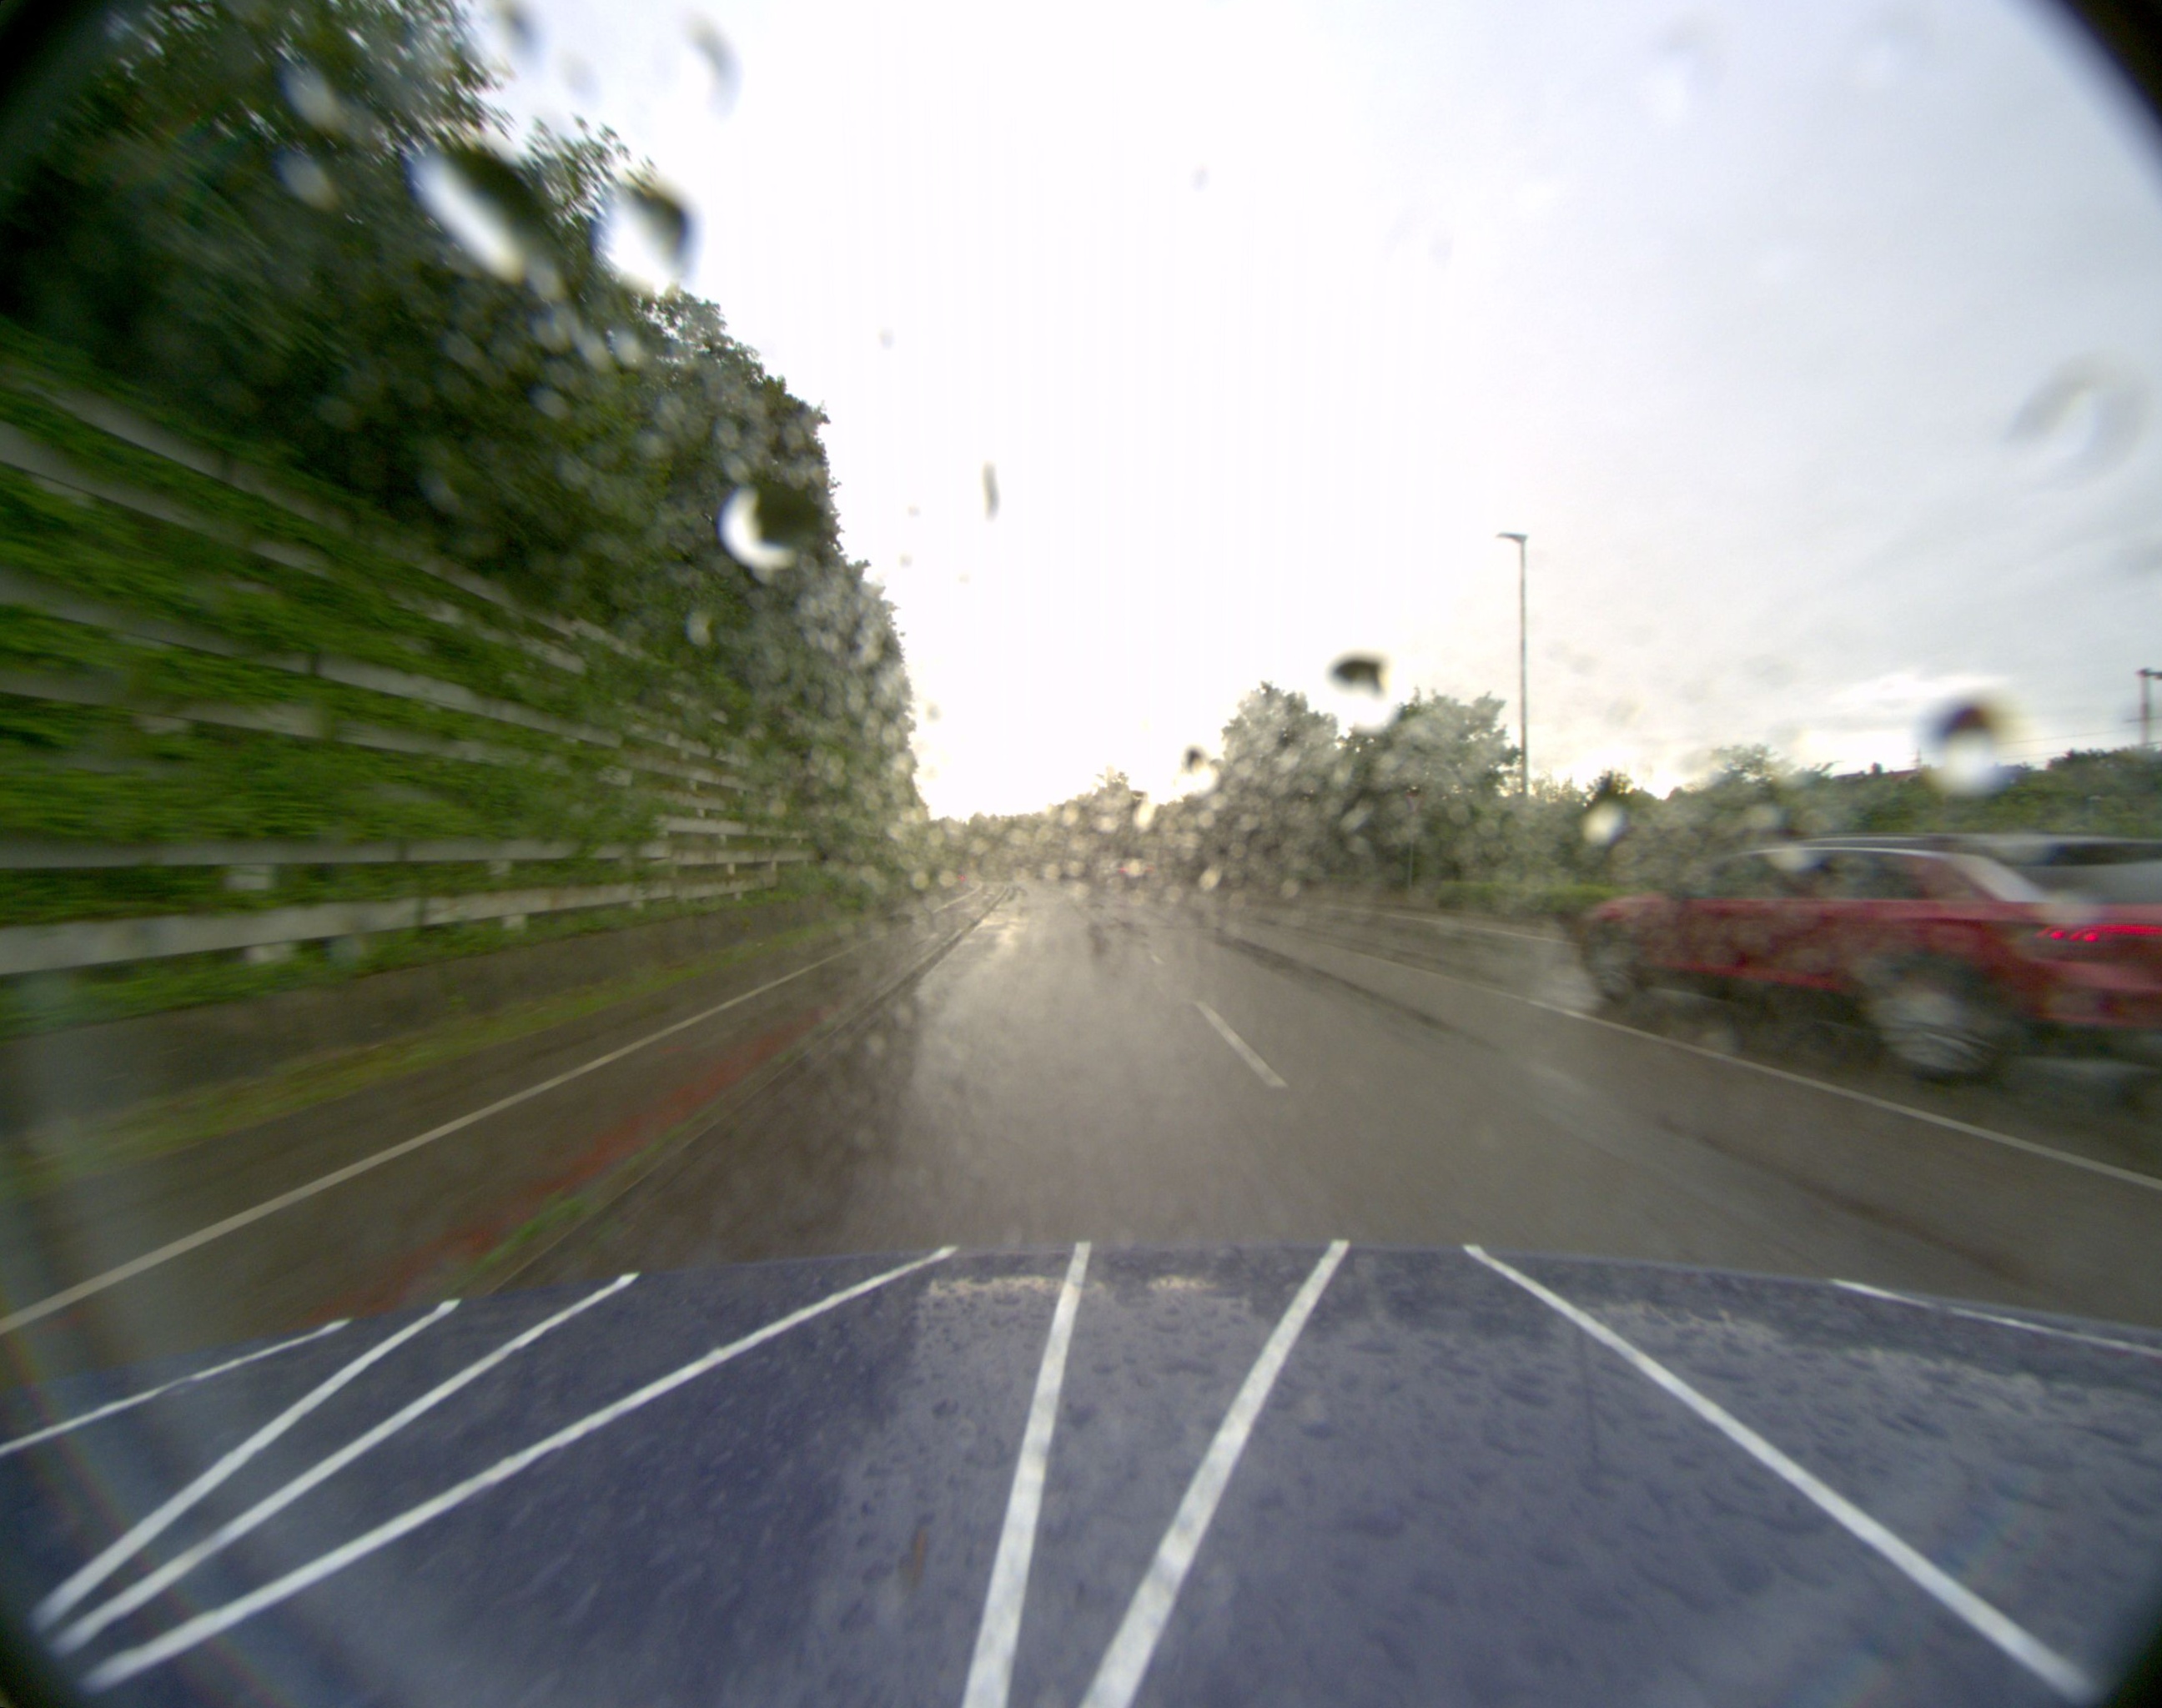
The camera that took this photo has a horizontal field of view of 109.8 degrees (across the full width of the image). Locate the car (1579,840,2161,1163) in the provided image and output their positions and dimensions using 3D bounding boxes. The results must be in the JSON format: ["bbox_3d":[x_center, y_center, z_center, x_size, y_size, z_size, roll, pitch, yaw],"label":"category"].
[{"bbox_3d":[5.901,0.719,5.609,1.759,1.526,4.000,-1,-1,-1],"label":"car"}]

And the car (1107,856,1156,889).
[{"bbox_3d":[2.459,0.878,38.051,1.728,1.453,4.541,-3,0,-5],"label":"car"}]
